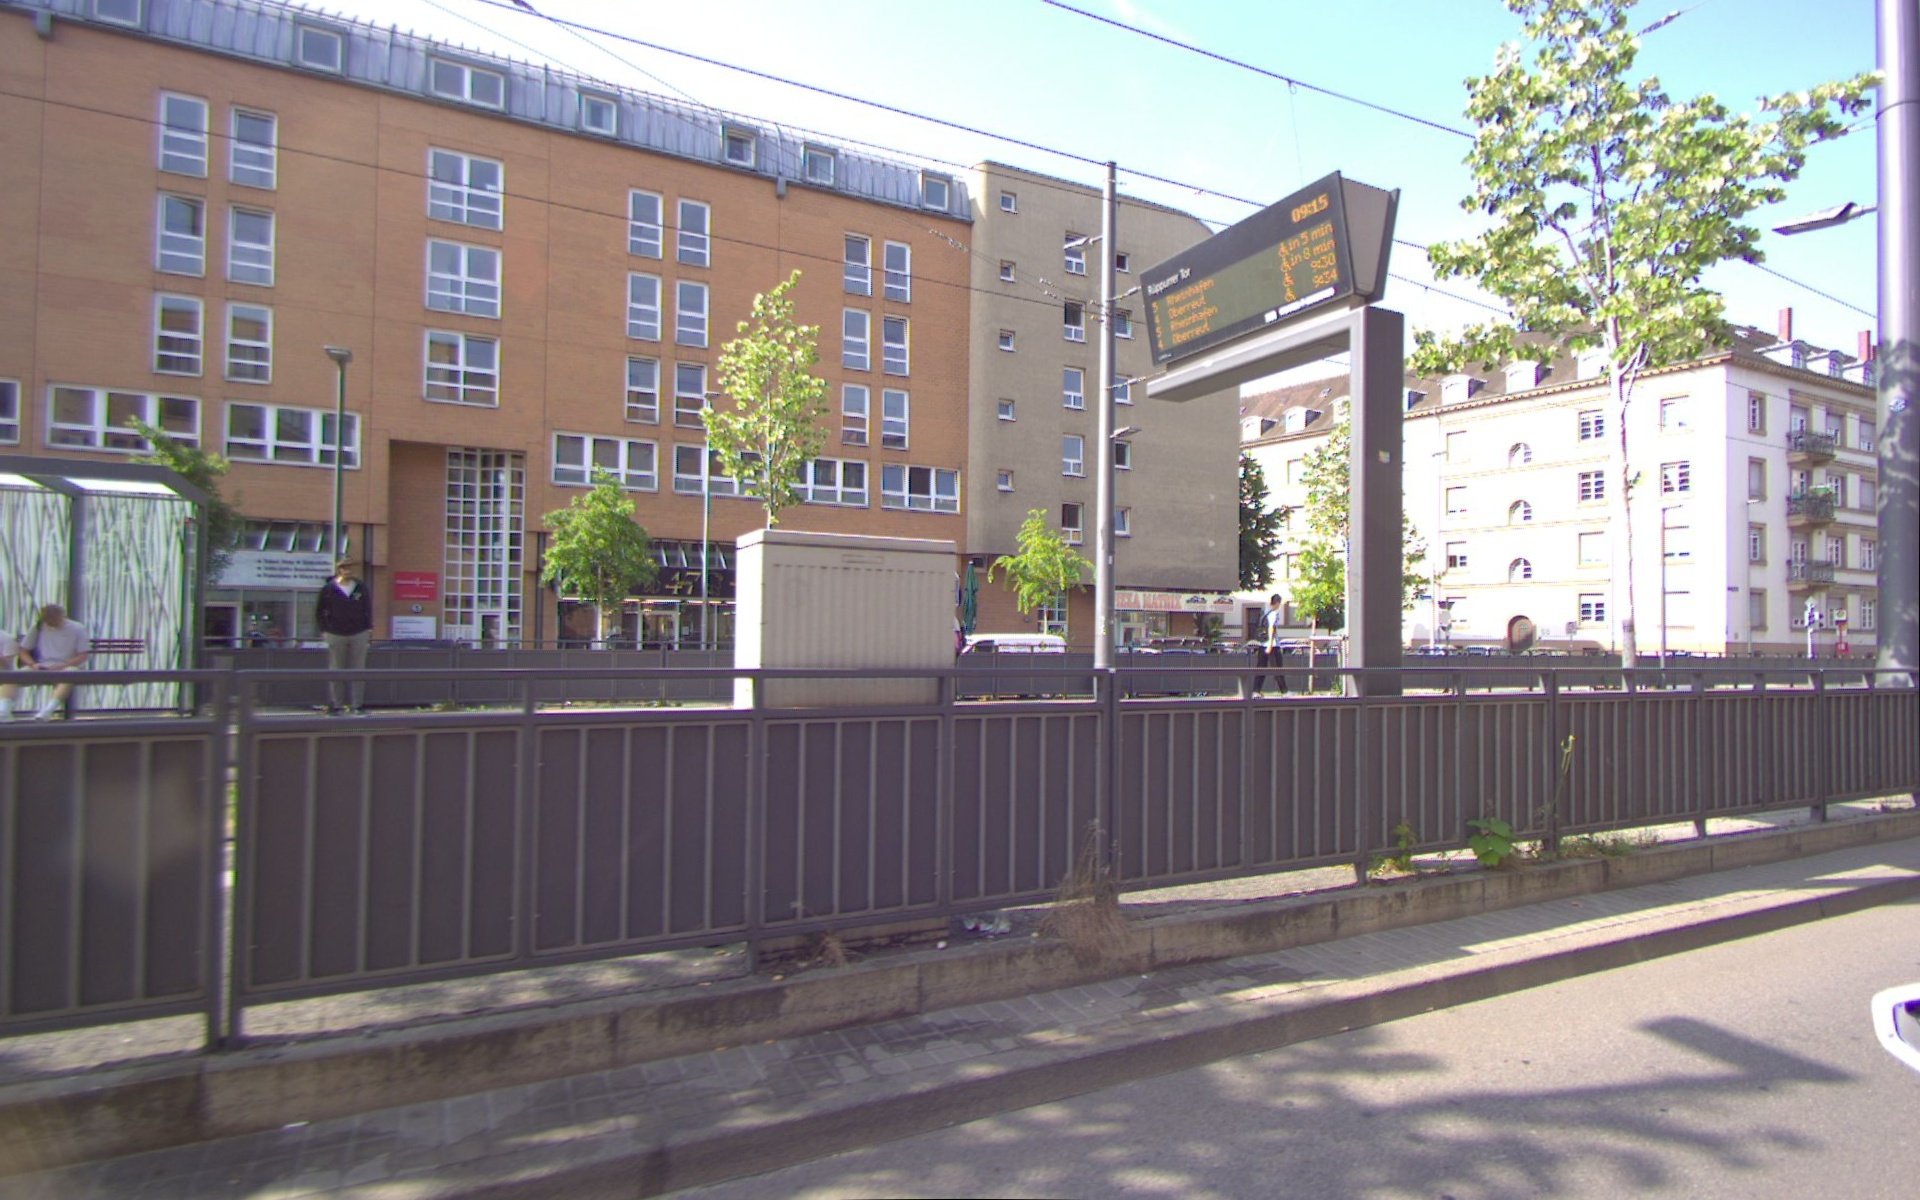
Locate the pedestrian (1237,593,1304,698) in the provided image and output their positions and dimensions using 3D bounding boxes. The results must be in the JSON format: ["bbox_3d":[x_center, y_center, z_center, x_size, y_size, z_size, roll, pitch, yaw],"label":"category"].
[{"bbox_3d":[5.788,0.848,18.726,0.927,1.896,0.737,2,-2,-25],"label":"pedestrian"}]

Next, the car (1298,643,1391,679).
[{"bbox_3d":[18.175,2.872,47.391,4.504,1.620,1.754,2,-2,-32],"label":"car"}]

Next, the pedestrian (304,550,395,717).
[{"bbox_3d":[-7.268,0.402,11.967,0.801,1.911,0.548,2,-2,-41],"label":"pedestrian"}]

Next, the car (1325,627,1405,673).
[{"bbox_3d":[24.004,2.933,59.430,5.002,2.617,1.981,2,-2,-34],"label":"car"}]

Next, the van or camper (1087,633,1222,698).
[{"bbox_3d":[6.346,2.107,32.800,3.943,1.994,1.926,2,-2,-23],"label":"van or camper"}]

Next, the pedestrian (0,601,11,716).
[{"bbox_3d":[-10.778,0.626,10.749,0.667,1.261,0.788,2,-3,-27],"label":"pedestrian"}]

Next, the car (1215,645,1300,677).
[{"bbox_3d":[15.181,3.096,51.202,3.952,1.528,1.985,2,-2,-30],"label":"car"}]

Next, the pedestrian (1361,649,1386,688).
[{"bbox_3d":[17.425,2.857,42.336,0.796,1.604,0.676,-1,-2,43],"label":"pedestrian"}]

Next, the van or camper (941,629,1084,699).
[{"bbox_3d":[1.614,1.937,30.882,3.942,2.040,1.990,2,-2,-22],"label":"van or camper"}]

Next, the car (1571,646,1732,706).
[{"bbox_3d":[22.106,2.395,32.135,4.561,1.829,1.991,1,-2,-20],"label":"car"}]

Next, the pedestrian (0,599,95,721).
[{"bbox_3d":[-10.047,0.647,10.936,0.666,1.261,1.149,2,-3,-27],"label":"pedestrian"}]

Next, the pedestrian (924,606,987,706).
[{"bbox_3d":[-0.063,0.880,16.107,0.666,1.551,0.810,0,-2,32],"label":"pedestrian"}]

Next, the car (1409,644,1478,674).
[{"bbox_3d":[26.708,3.239,55.414,3.883,1.553,1.664,2,-2,-33],"label":"car"}]

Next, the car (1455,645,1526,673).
[{"bbox_3d":[28.257,3.149,53.489,3.957,1.424,1.664,2,-2,-33],"label":"car"}]
